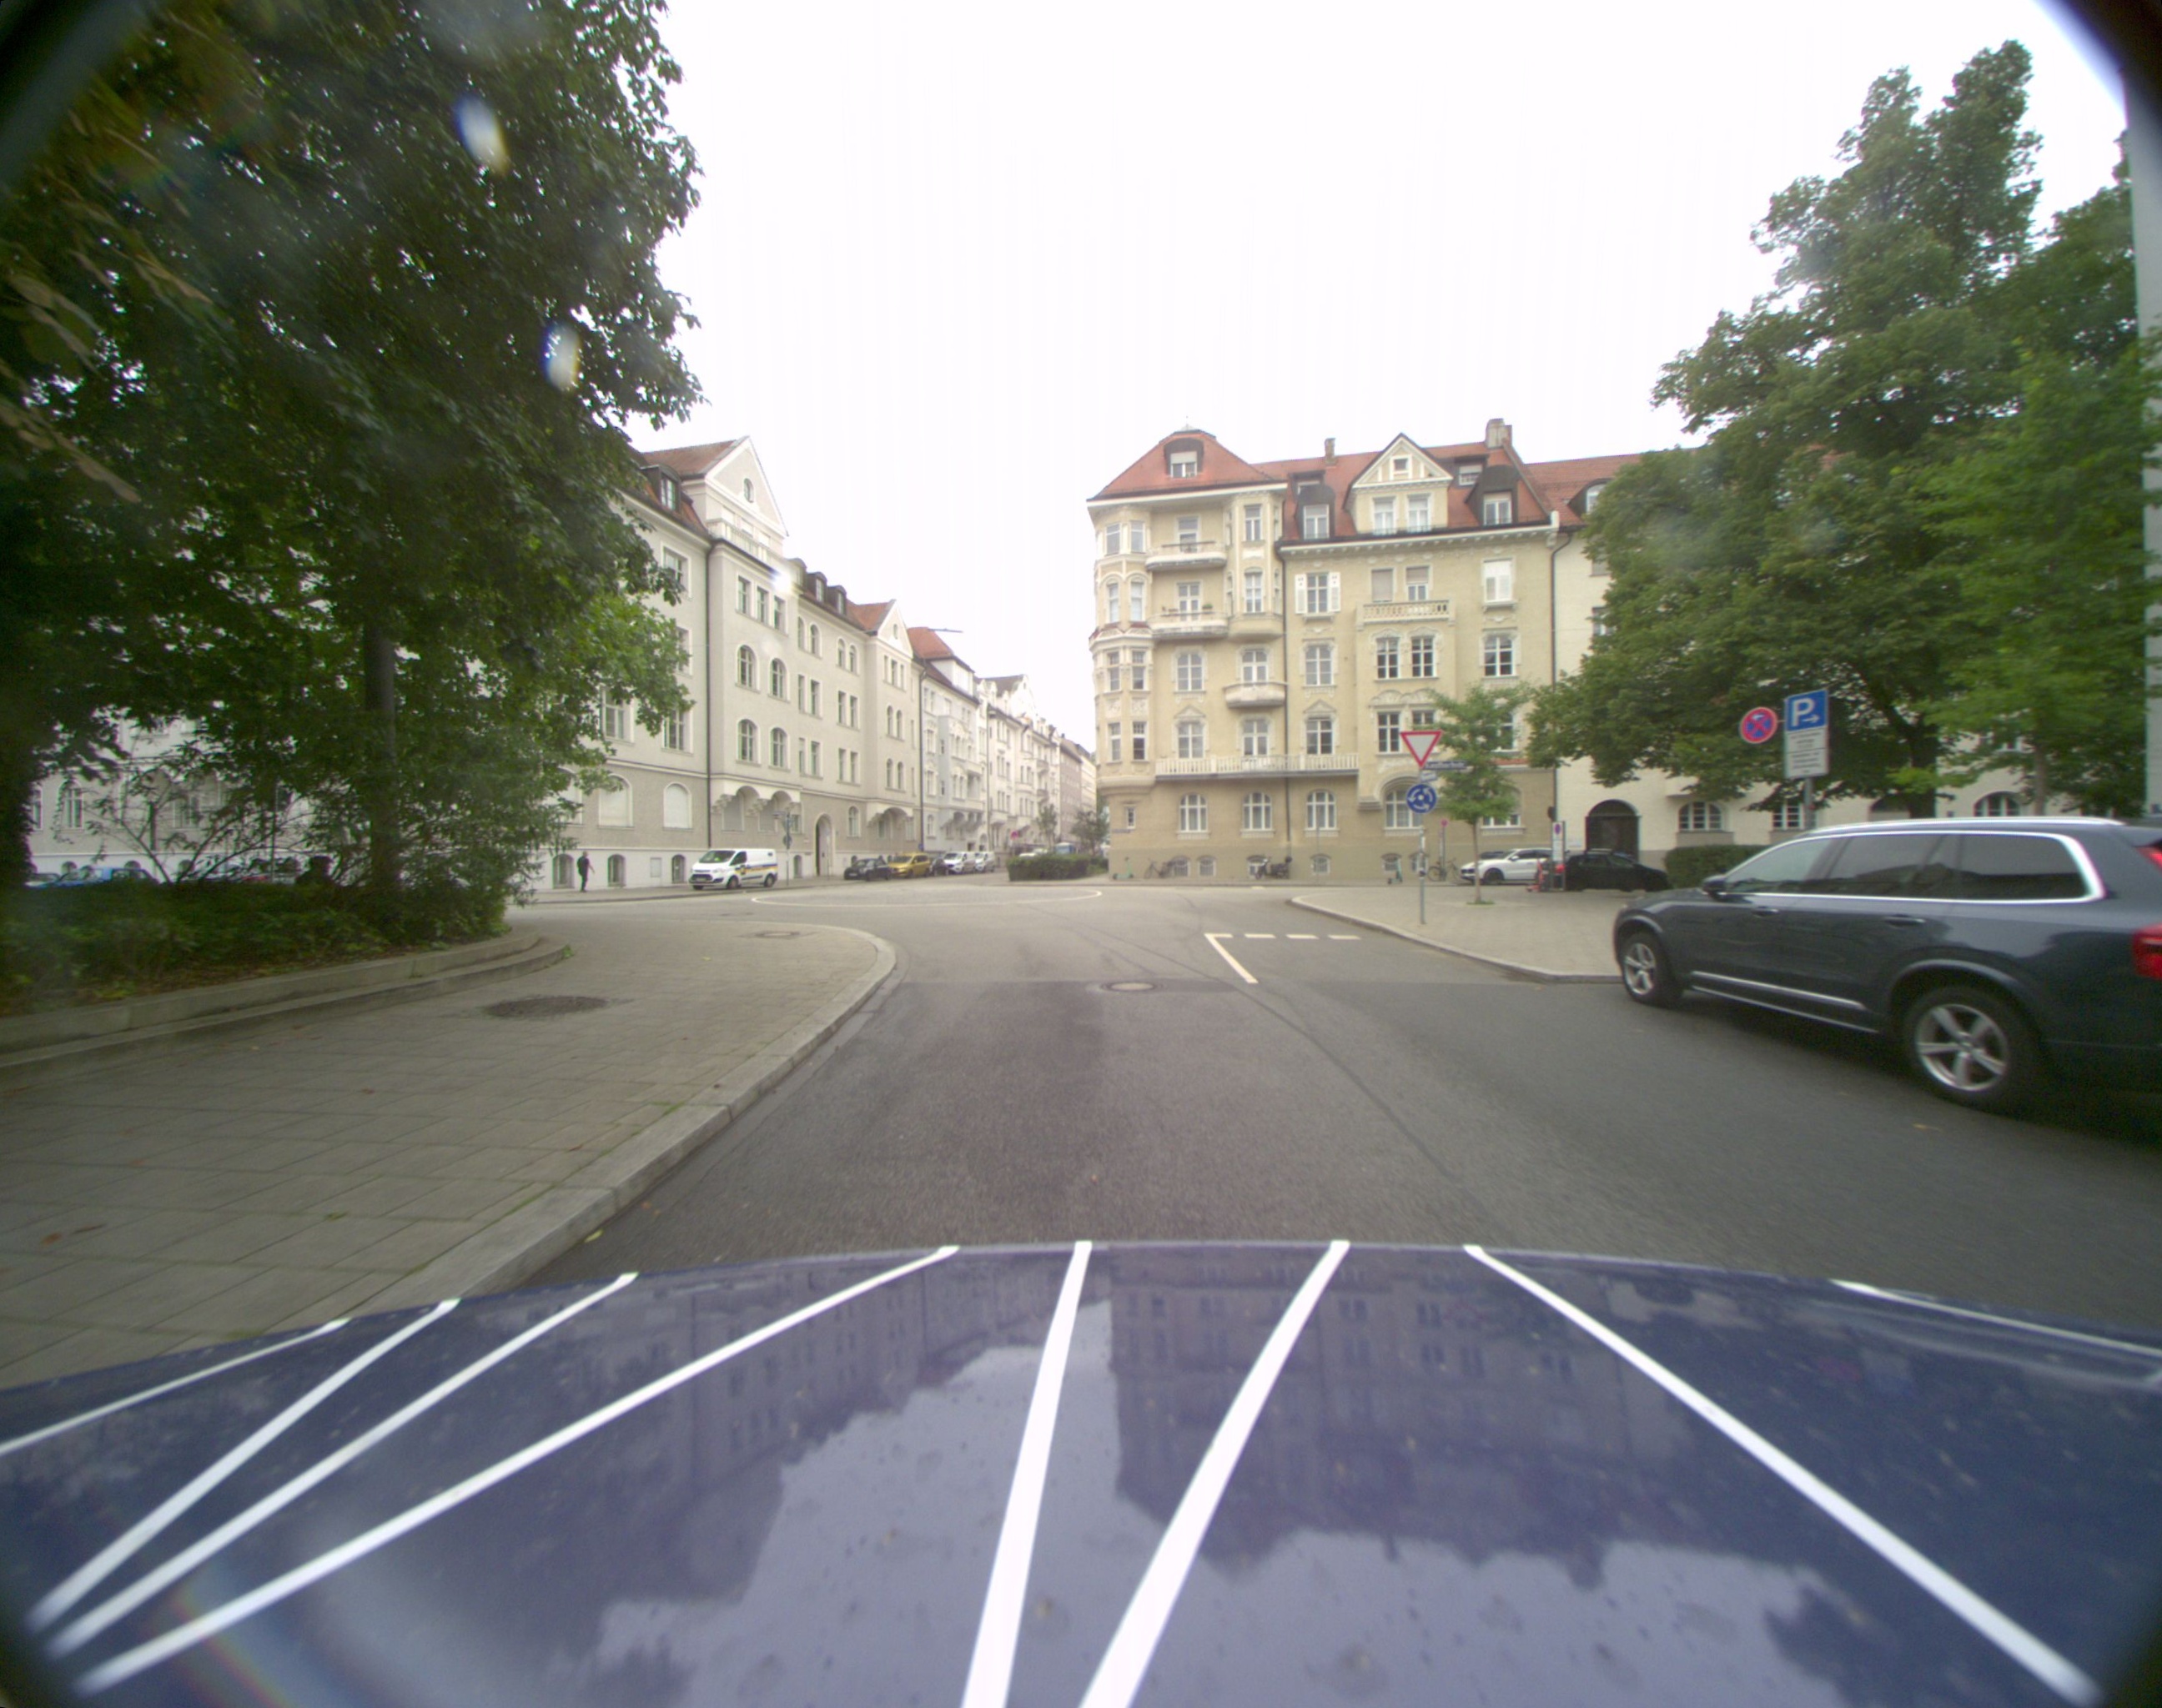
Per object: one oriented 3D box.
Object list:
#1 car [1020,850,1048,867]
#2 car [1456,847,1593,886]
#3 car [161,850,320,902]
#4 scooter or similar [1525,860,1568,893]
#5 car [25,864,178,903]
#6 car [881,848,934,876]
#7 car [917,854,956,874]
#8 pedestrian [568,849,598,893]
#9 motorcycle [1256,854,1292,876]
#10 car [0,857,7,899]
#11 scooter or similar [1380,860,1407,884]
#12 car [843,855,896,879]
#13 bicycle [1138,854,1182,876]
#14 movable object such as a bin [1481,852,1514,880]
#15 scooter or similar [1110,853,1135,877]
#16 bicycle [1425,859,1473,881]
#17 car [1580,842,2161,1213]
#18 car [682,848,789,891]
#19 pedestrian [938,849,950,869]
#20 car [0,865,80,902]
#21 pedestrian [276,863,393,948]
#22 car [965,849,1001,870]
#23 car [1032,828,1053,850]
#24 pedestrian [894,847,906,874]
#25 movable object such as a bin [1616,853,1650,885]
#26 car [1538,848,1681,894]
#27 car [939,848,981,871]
[{"bbox_3d":[-4.747,0.429,77.085,1.918,1.648,4.604,0,0,8],"label":"car"},{"bbox_3d":[19.909,0.552,34.329,4.983,1.666,2.001,0,1,9],"label":"car"},{"bbox_3d":[-30.352,0.770,27.500,4.244,1.785,1.894,0,1,11],"label":"car"},{"bbox_3d":[14.967,0.724,24.451,0.528,1.018,1.311,-1,0,-2],"label":"scooter or similar"},{"bbox_3d":[-38.037,1.130,29.543,4.244,1.396,1.894,0,1,11],"label":"car"},{"bbox_3d":[-12.307,0.543,54.366,1.997,1.907,4.575,0,0,11],"label":"car"},{"bbox_3d":[-11.299,0.747,59.759,1.636,1.505,3.888,-1,0,12],"label":"car"},{"bbox_3d":[-20.705,0.675,31.639,0.931,1.790,0.997,-1,1,-28],"label":"pedestrian"},{"bbox_3d":[10.177,0.580,40.168,1.743,1.179,0.743,-1,0,7],"label":"motorcycle"},{"bbox_3d":[-47.296,1.023,31.472,3.833,1.773,1.799,0,1,11],"label":"car"},{"bbox_3d":[14.672,0.826,35.680,1.349,1.102,0.541,-1,1,-34],"label":"scooter or similar"},{"bbox_3d":[-13.598,0.832,49.082,1.715,1.437,3.831,0,0,12],"label":"car"},{"bbox_3d":[4.307,0.604,41.358,2.337,1.196,0.699,-1,0,6],"label":"bicycle"},{"bbox_3d":[20.874,0.606,38.119,1.179,1.363,1.149,0,1,12],"label":"movable object such as a bin"},{"bbox_3d":[2.261,0.586,41.481,1.284,1.264,0.459,-1,1,-8],"label":"scooter or similar"},{"bbox_3d":[17.761,0.769,36.712,1.974,1.062,0.654,0,1,2],"label":"bicycle"},{"bbox_3d":[6.270,0.778,5.658,2.088,1.709,5.307,0,0,6],"label":"car"},{"bbox_3d":[-16.591,0.685,36.854,1.941,1.911,5.379,1,0,11],"label":"car"},{"bbox_3d":[-12.914,0.504,71.641,0.853,1.892,0.747,0,1,14],"label":"pedestrian"},{"bbox_3d":[-43.160,1.187,30.663,3.833,1.396,1.799,0,1,11],"label":"car"},{"bbox_3d":[-12.493,0.831,12.753,0.770,1.349,1.132,0,1,13],"label":"pedestrian"},{"bbox_3d":[-9.164,0.503,71.435,1.997,1.907,4.882,0,0,10],"label":"car"},{"bbox_3d":[-4.863,-1.917,96.566,2.081,2.673,5.445,1,1,3],"label":"car"},{"bbox_3d":[-13.663,0.493,57.389,0.584,2.002,0.728,-1,1,14],"label":"pedestrian"},{"bbox_3d":[24.439,0.672,33.649,0.917,1.392,0.953,0,1,13],"label":"movable object such as a bin"},{"bbox_3d":[18.090,0.613,26.166,3.671,1.518,1.677,0,-2,9],"label":"car"},{"bbox_3d":[-10.303,0.469,65.336,1.997,1.907,4.890,0,0,11],"label":"car"}]
